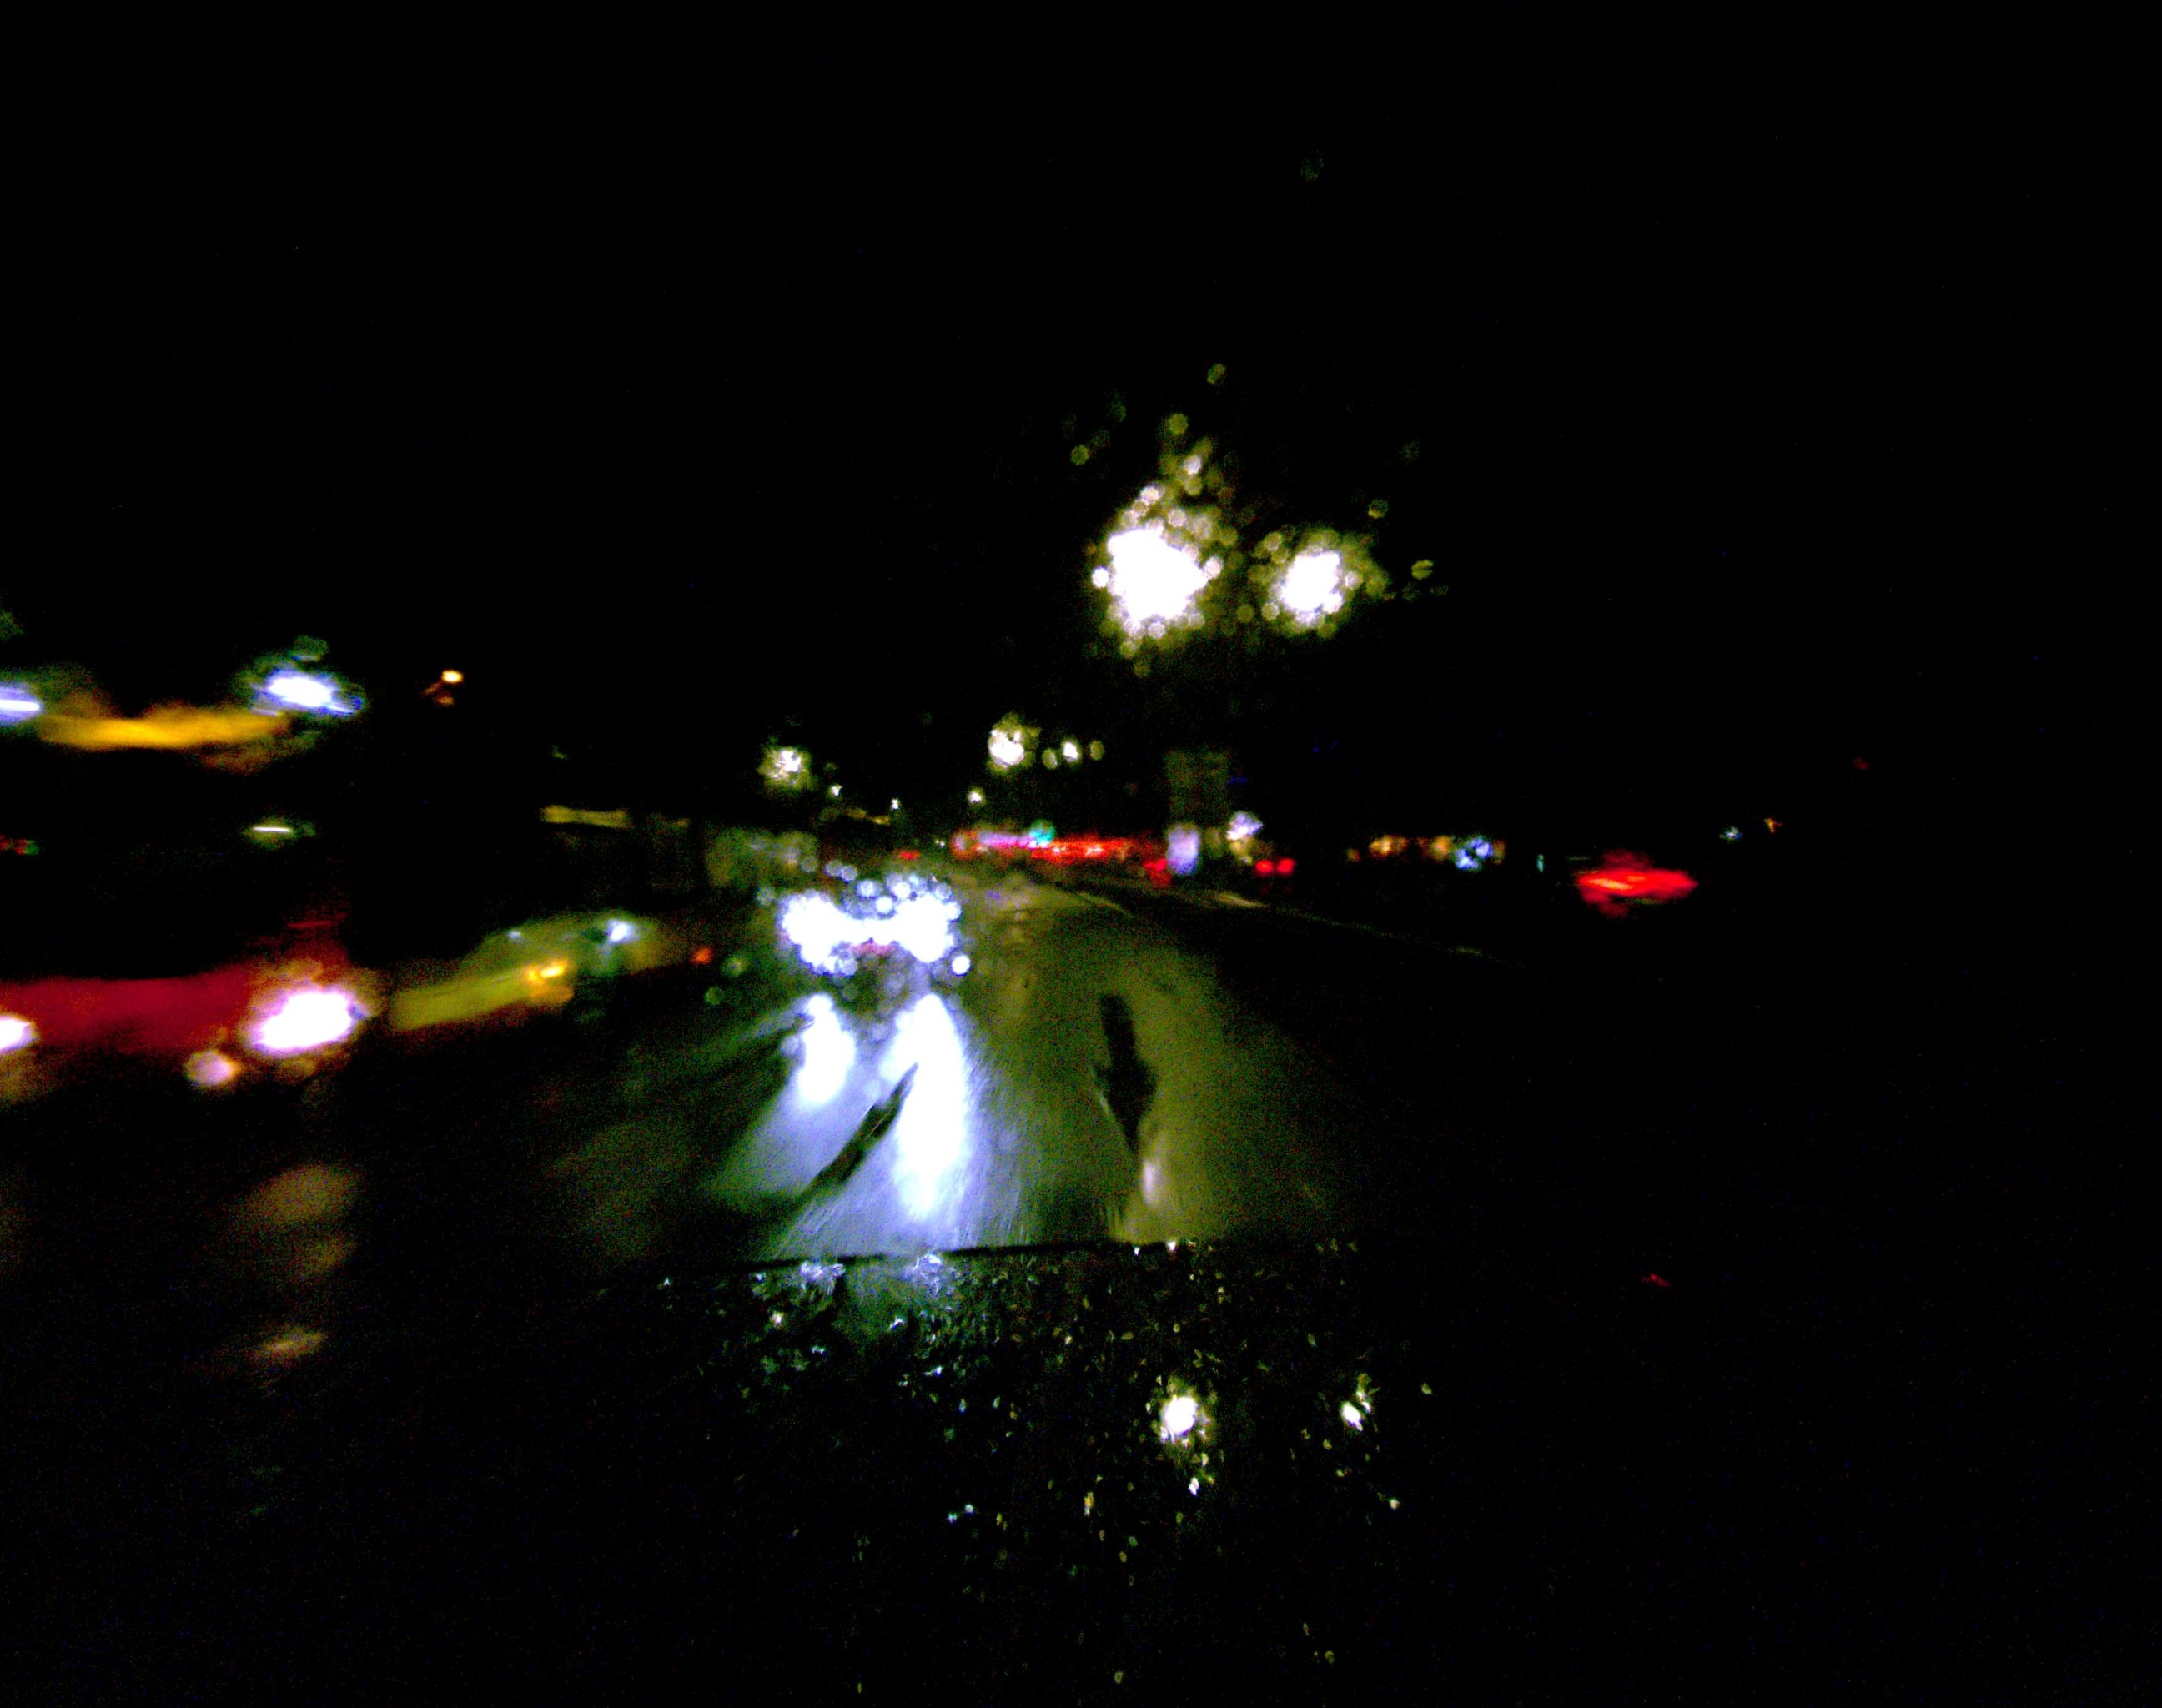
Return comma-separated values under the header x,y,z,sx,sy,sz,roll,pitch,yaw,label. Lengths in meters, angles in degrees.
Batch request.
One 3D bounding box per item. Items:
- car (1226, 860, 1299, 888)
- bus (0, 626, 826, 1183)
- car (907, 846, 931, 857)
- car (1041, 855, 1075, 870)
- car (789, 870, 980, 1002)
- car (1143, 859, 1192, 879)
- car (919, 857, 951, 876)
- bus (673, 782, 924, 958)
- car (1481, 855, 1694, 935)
x,y,z,sx,sy,sz,roll,pitch,yaw,label
9.754,1.023,41.234,1.902,1.381,4.606,-1,0,-15,car
-6.096,0.306,9.342,2.741,3.258,9.698,-1,0,-1,bus
-23.364,-0.339,109.591,1.904,1.381,4.829,-2,0,-32,car
-2.359,0.840,76.773,1.903,1.381,4.832,-2,0,-22,car
-2.755,1.076,11.645,1.724,1.478,4.162,-4,0,0,car
6.320,1.065,56.098,1.902,1.381,4.834,-1,0,-17,car
-11.911,1.014,61.968,1.759,1.438,3.966,0,0,-23,car
-6.282,0.298,19.054,2.741,3.219,9.699,-1,0,-1,bus
11.024,0.800,16.978,1.601,1.527,4.309,-1,0,-5,car
